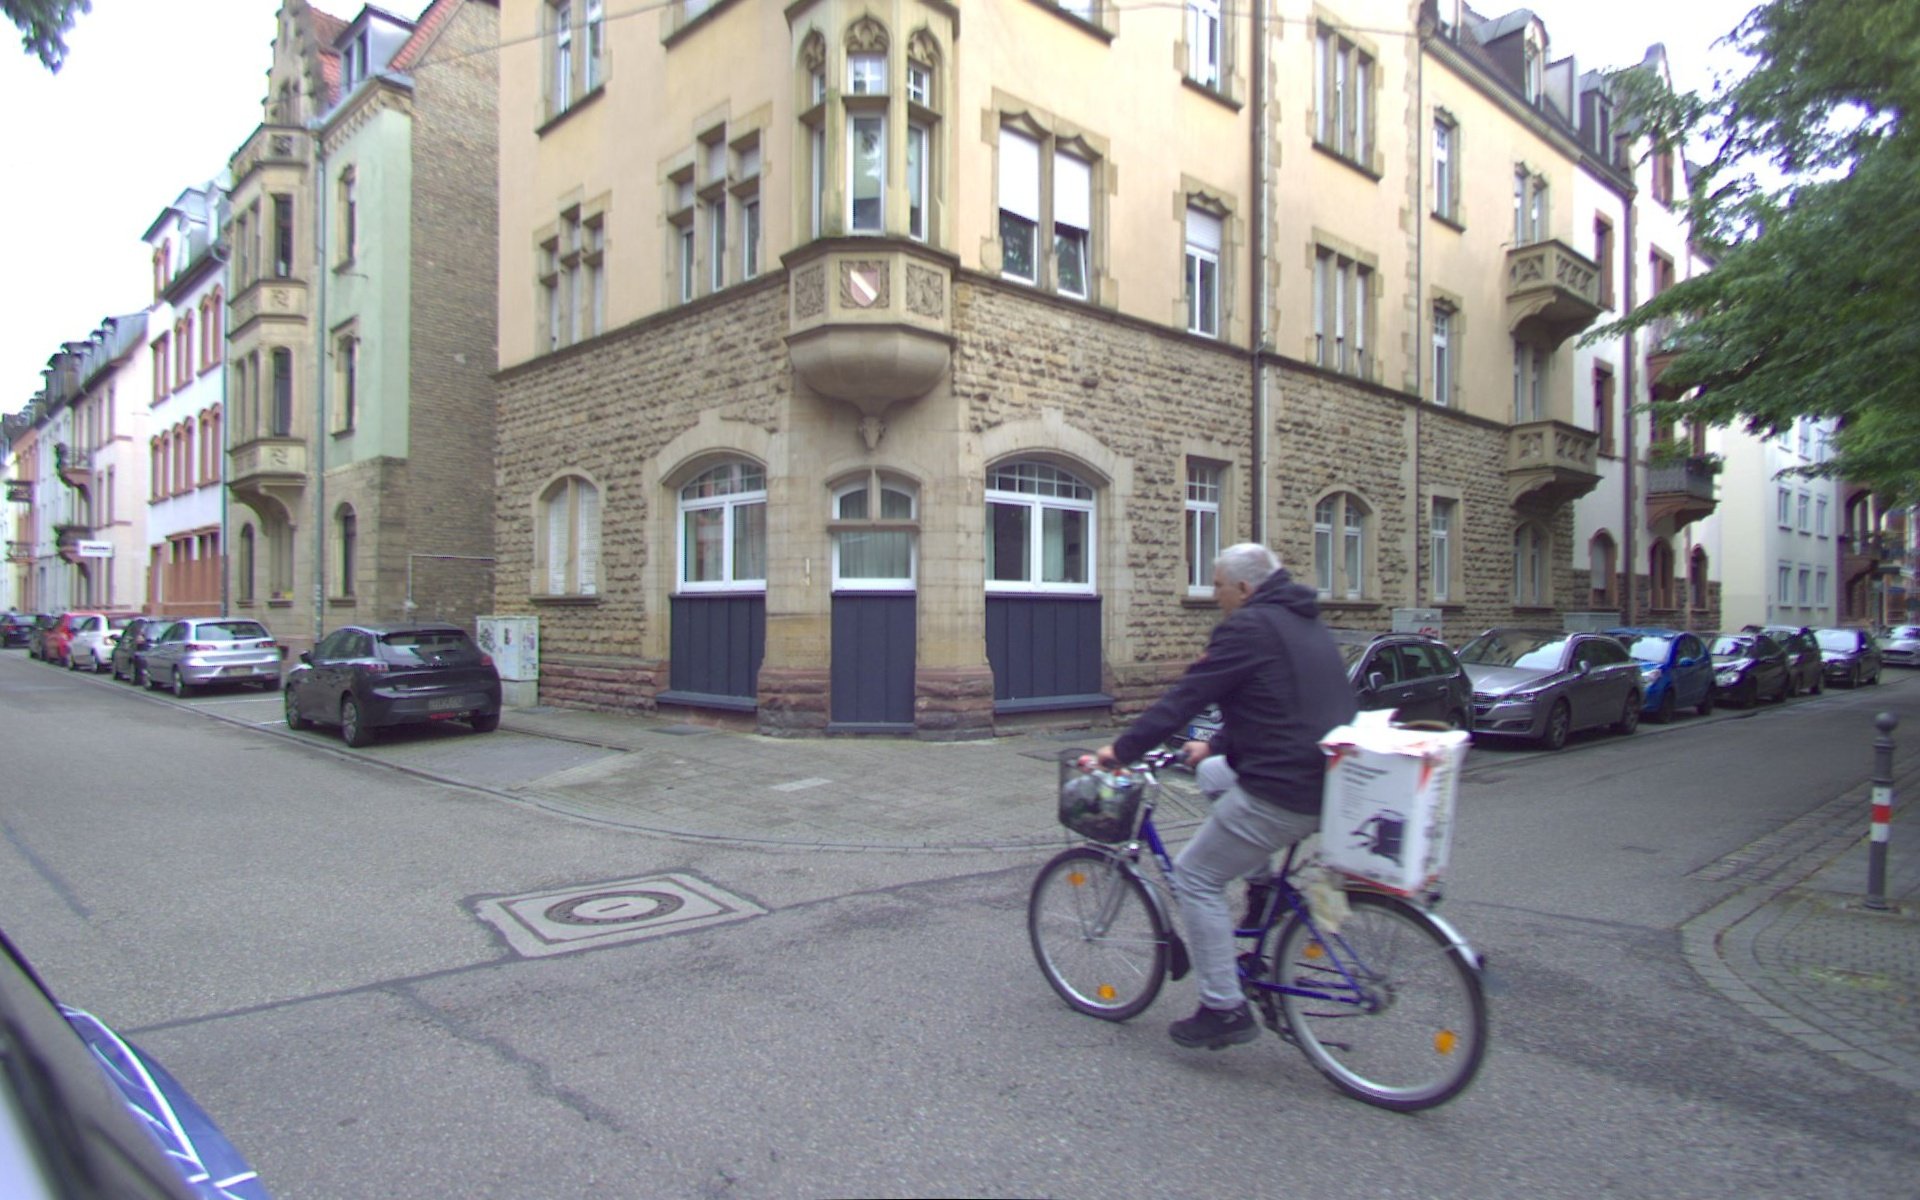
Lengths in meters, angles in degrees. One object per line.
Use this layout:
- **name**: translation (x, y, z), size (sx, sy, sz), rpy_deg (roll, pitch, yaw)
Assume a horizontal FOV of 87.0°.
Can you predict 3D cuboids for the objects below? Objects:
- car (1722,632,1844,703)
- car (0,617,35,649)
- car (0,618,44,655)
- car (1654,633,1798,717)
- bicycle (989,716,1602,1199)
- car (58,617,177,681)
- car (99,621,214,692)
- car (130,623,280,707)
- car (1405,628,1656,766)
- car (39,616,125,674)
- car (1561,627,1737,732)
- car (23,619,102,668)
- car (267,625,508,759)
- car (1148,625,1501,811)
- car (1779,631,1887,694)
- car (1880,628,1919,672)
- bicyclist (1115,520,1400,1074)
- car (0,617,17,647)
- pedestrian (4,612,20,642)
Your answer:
- **car**: translation (18.801, 1.486, 23.093), size (3.338, 1.359, 1.581), rpy_deg (1, 2, -41)
- **car**: translation (-43.384, 1.497, 45.989), size (3.471, 1.393, 1.638), rpy_deg (-1, 0, 42)
- **car**: translation (-37.796, 1.439, 40.082), size (3.999, 1.401, 1.879), rpy_deg (-1, -1, 42)
- **car**: translation (15.091, 1.403, 19.887), size (3.338, 1.359, 1.581), rpy_deg (1, 2, -41)
- **bicycle**: translation (0.970, 1.001, 3.309), size (1.800, 1.102, 0.626), rpy_deg (-2, -2, 44)
- **car**: translation (-21.930, 1.223, 26.303), size (3.548, 1.522, 1.650), rpy_deg (-1, -1, 38)
- **car**: translation (-18.173, 1.219, 22.838), size (3.455, 1.445, 1.501), rpy_deg (-2, 0, 42)
- **car**: translation (-14.878, 1.208, 19.882), size (3.807, 1.445, 1.573), rpy_deg (-2, 0, 41)
- **car**: translation (7.947, 1.200, 13.923), size (4.219, 1.477, 1.665), rpy_deg (1, 2, -42)
- **car**: translation (-25.385, 1.252, 29.214), size (3.567, 1.542, 1.450), rpy_deg (-2, 0, 42)
- **car**: translation (11.807, 1.263, 17.282), size (3.338, 1.477, 1.665), rpy_deg (1, 2, -41)
- **car**: translation (-28.505, 1.345, 32.098), size (3.917, 1.427, 1.450), rpy_deg (-2, 0, 42)
- **car**: translation (-7.596, 1.082, 13.271), size (3.882, 1.445, 1.708), rpy_deg (-2, 0, 44)
- **car**: translation (4.017, 1.071, 10.793), size (4.219, 1.477, 1.665), rpy_deg (1, 2, -42)
- **car**: translation (22.428, 1.563, 25.968), size (3.457, 1.359, 1.581), rpy_deg (1, 2, -42)
- **car**: translation (32.584, 1.666, 34.357), size (3.338, 1.416, 1.612), rpy_deg (1, -2, -41)
- **bicyclist**: translation (0.975, 0.561, 3.319), size (0.677, 1.550, 0.640), rpy_deg (-1, -2, 44)
- **car**: translation (-48.077, 1.561, 50.183), size (3.341, 1.483, 1.589), rpy_deg (-1, -1, 41)
- **pedestrian**: translation (-51.207, 1.454, 54.676), size (0.544, 1.621, 0.570), rpy_deg (-1, -1, 42)
